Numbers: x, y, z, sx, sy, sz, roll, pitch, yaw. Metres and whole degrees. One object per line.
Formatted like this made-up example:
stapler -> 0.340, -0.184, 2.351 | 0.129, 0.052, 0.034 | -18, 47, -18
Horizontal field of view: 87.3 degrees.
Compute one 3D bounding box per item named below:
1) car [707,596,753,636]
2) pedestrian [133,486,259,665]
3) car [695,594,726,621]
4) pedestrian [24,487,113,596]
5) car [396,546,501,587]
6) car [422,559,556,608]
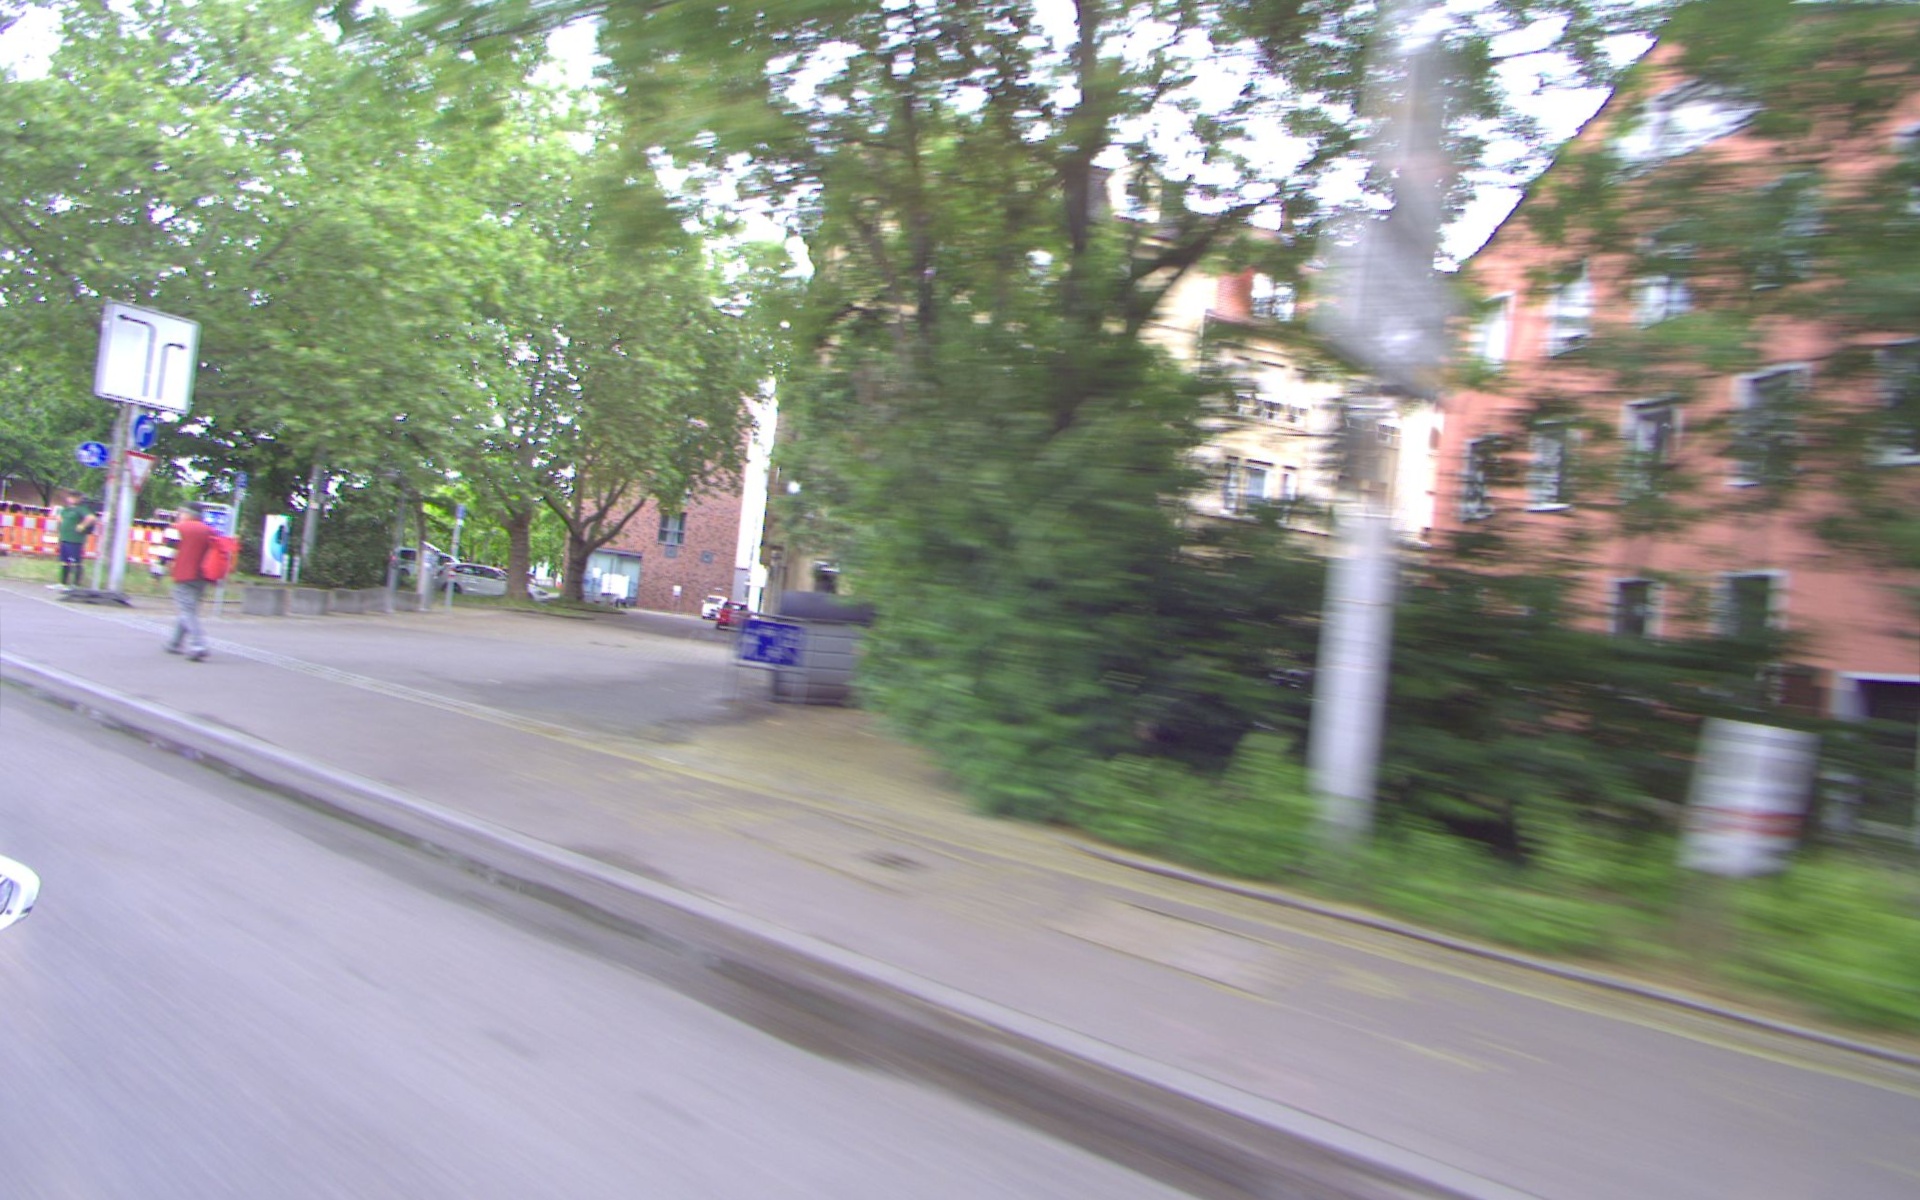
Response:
car -> -11.427, 0.779, 50.147 | 1.967, 1.732, 4.399 | 6, -1, -12
pedestrian -> -8.353, -0.253, 11.010 | 0.715, 1.855, 0.780 | 7, 2, 32
car -> -15.914, 0.480, 64.321 | 1.692, 1.525, 4.102 | 6, -1, -12
pedestrian -> -15.236, -0.998, 17.200 | 0.822, 1.718, 0.732 | 7, 1, 23
car -> -25.847, -1.671, 50.997 | 4.442, 1.489, 1.713 | 7, -1, -20
car -> -18.362, -0.613, 39.416 | 4.438, 1.341, 1.715 | 7, -1, -16
